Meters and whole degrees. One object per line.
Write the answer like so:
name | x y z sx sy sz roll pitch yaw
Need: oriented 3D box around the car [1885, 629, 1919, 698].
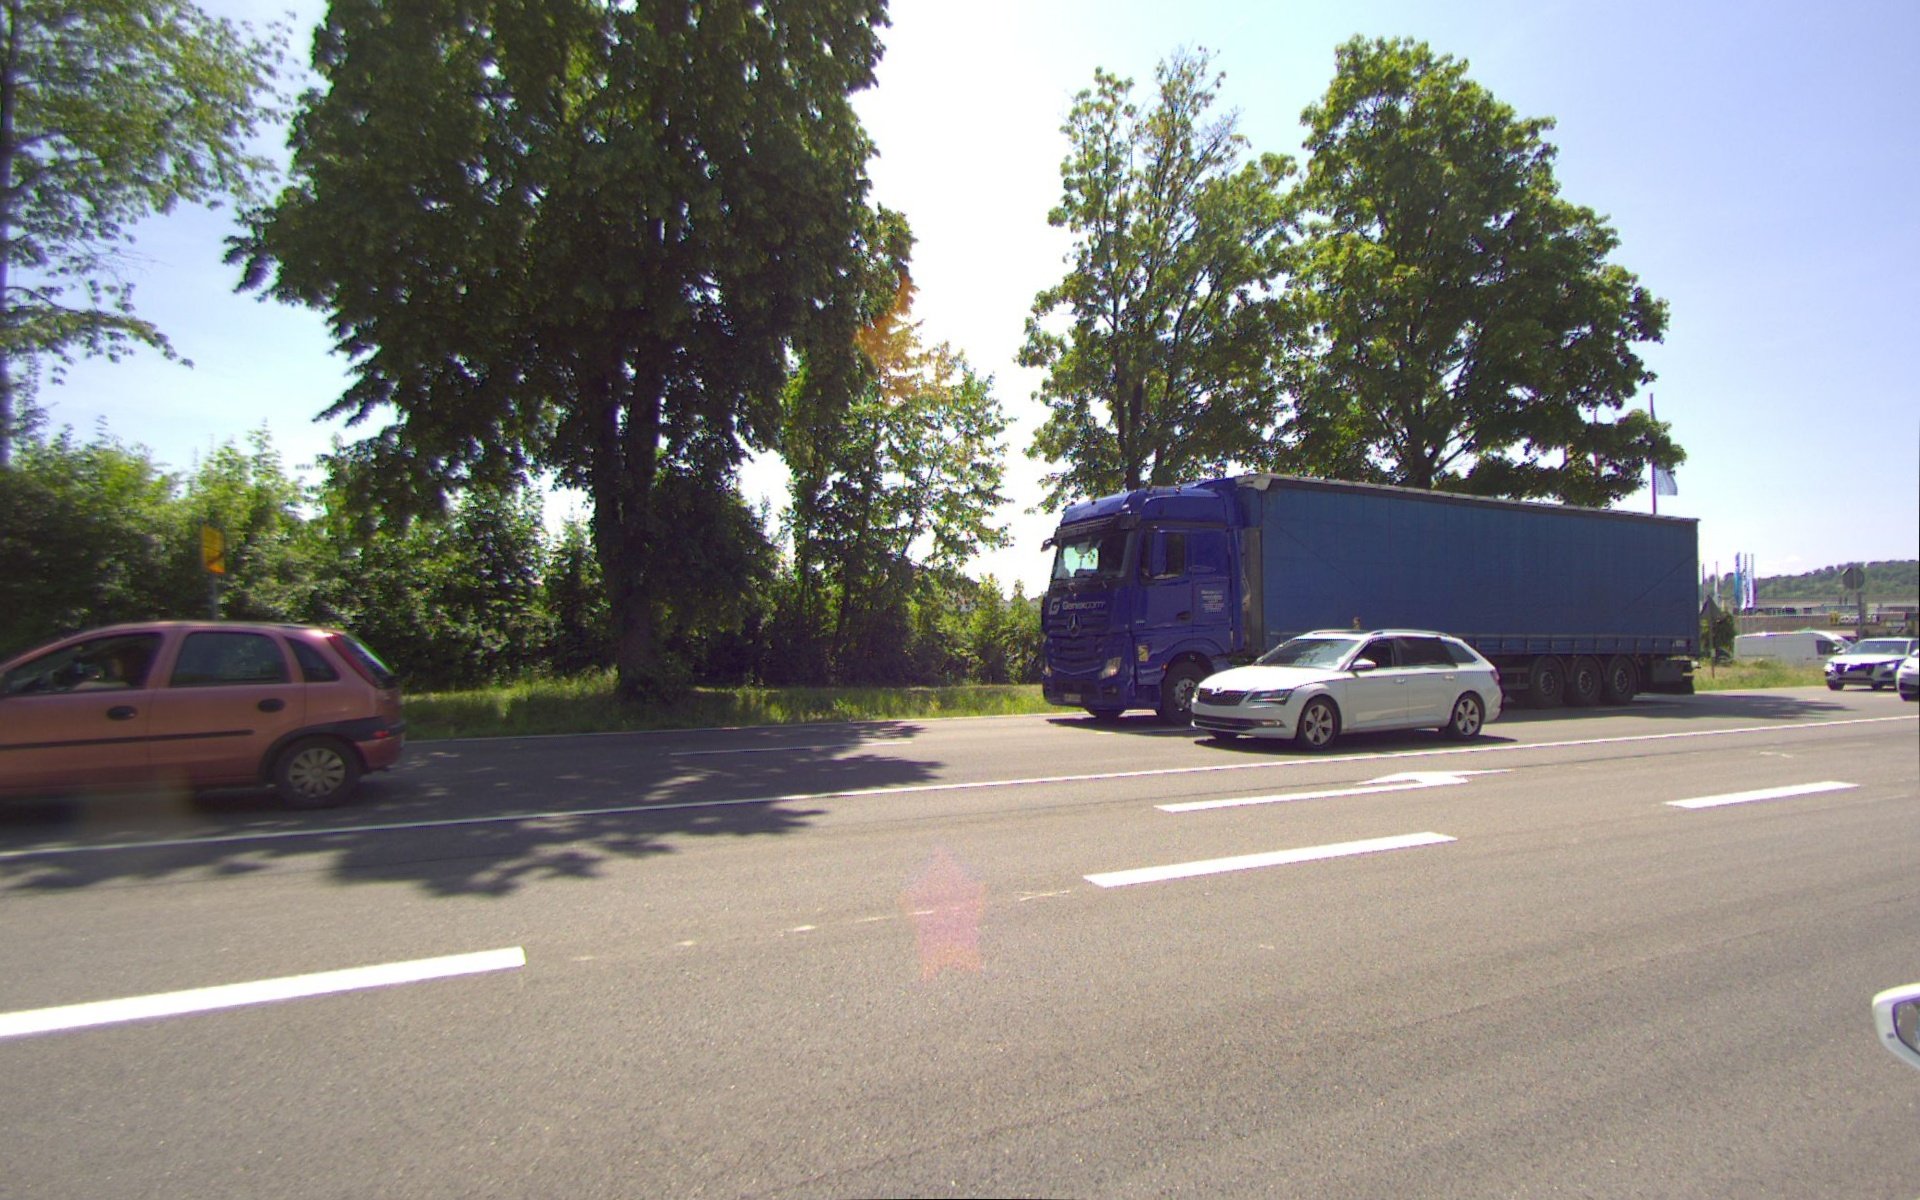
car | 23.518 1.438 23.390 4.138 1.542 1.784 1 -3 -31

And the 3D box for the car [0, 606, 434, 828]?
car | -6.187 0.823 7.727 3.727 1.464 1.760 2 -3 -27

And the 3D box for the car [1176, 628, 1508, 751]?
car | 5.202 1.118 13.524 4.507 1.433 1.693 2 -2 -29

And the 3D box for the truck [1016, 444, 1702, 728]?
truck | 8.863 0.033 20.160 16.367 4.231 2.957 2 -2 -28

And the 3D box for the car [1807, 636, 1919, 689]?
car | 26.955 1.798 29.472 4.126 1.446 1.755 1 -2 -27

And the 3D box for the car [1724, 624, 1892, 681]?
car | 42.455 2.717 50.505 2.171 2.519 5.961 1 -6 -32
